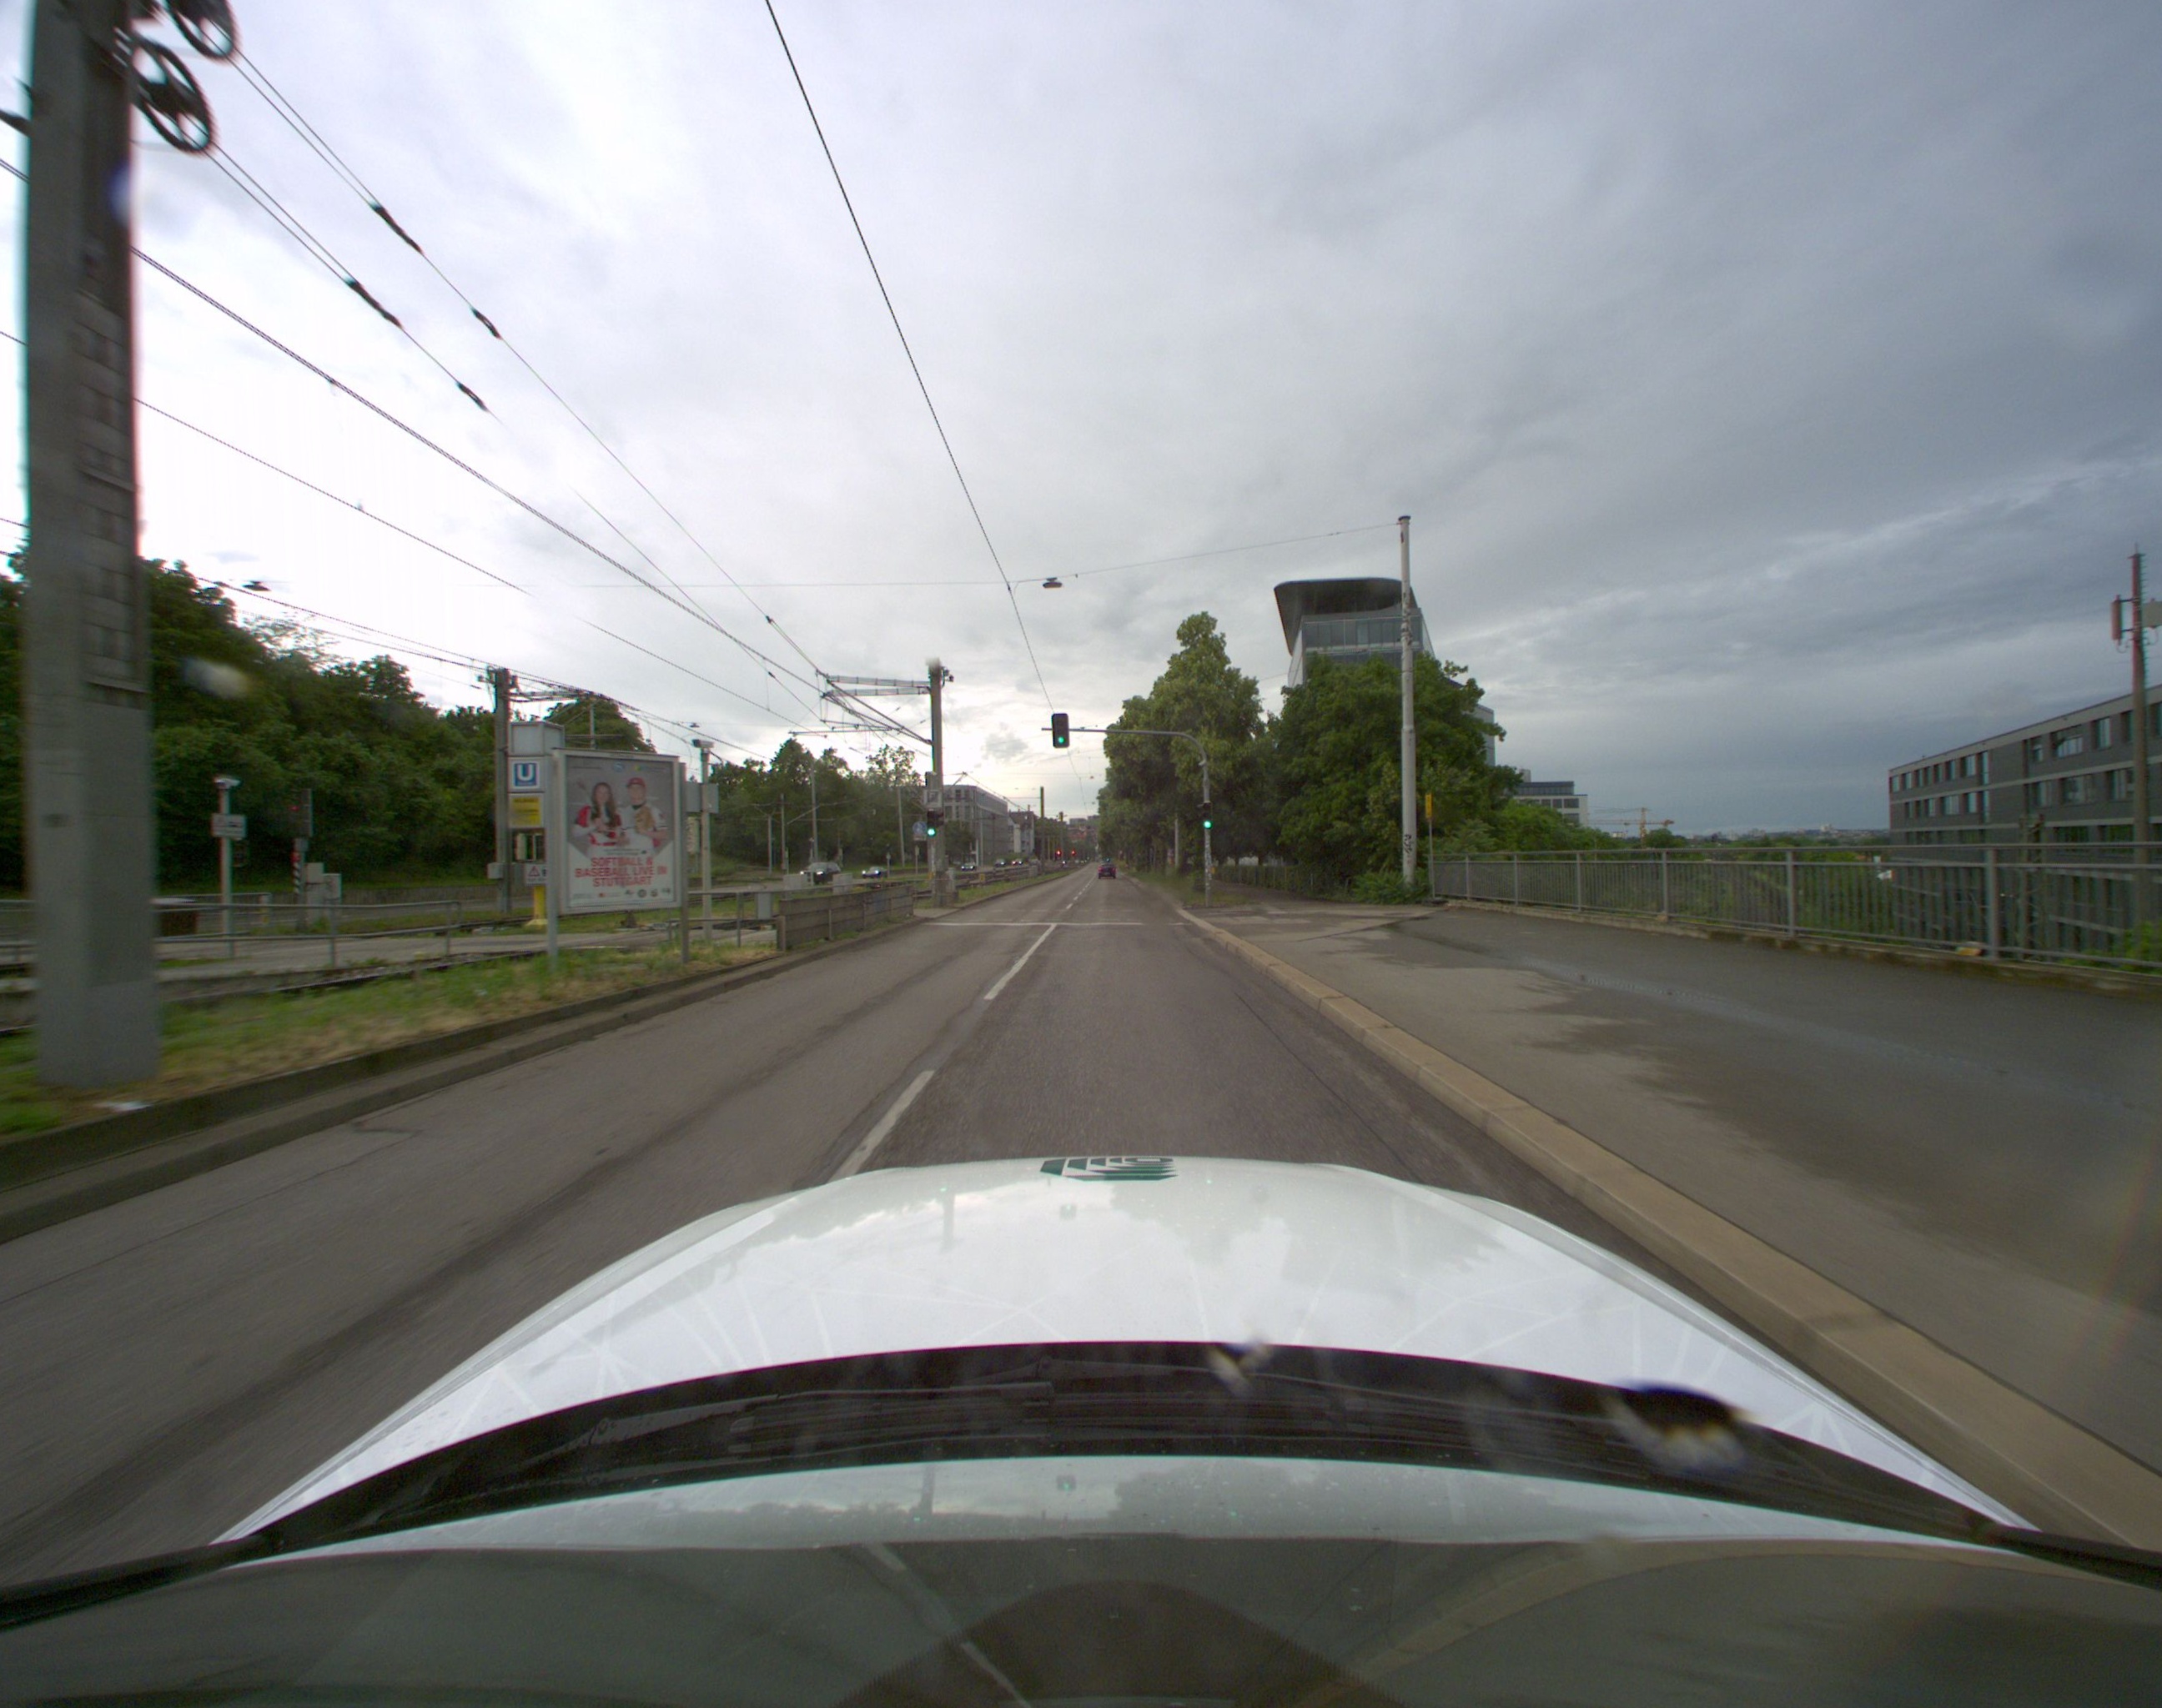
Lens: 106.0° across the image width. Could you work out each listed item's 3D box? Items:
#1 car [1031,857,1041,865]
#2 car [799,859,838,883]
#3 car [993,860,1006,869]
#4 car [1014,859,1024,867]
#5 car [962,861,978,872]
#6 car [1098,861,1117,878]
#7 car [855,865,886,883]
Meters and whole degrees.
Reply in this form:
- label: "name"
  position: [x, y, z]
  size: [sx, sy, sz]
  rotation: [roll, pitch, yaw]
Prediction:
- label: "car"
  position: [-10.813, 1.710, 195.695]
  size: [1.840, 1.631, 3.616]
  rotation: [2, 2, 6]
- label: "car"
  position: [-20.367, 1.333, 63.236]
  size: [1.658, 1.631, 3.310]
  rotation: [2, 2, 6]
- label: "car"
  position: [-16.370, 2.052, 162.904]
  size: [1.840, 1.631, 3.616]
  rotation: [2, 2, 6]
- label: "car"
  position: [-14.310, 2.063, 188.935]
  size: [1.644, 1.631, 3.616]
  rotation: [2, 2, 6]
- label: "car"
  position: [-18.141, 2.046, 133.380]
  size: [1.840, 1.631, 3.616]
  rotation: [2, 2, 6]
- label: "car"
  position: [2.552, 1.486, 78.698]
  size: [1.720, 1.540, 4.001]
  rotation: [0, 0, 1]
- label: "car"
  position: [-22.153, 2.086, 85.763]
  size: [1.840, 1.631, 3.819]
  rotation: [2, 2, 6]
